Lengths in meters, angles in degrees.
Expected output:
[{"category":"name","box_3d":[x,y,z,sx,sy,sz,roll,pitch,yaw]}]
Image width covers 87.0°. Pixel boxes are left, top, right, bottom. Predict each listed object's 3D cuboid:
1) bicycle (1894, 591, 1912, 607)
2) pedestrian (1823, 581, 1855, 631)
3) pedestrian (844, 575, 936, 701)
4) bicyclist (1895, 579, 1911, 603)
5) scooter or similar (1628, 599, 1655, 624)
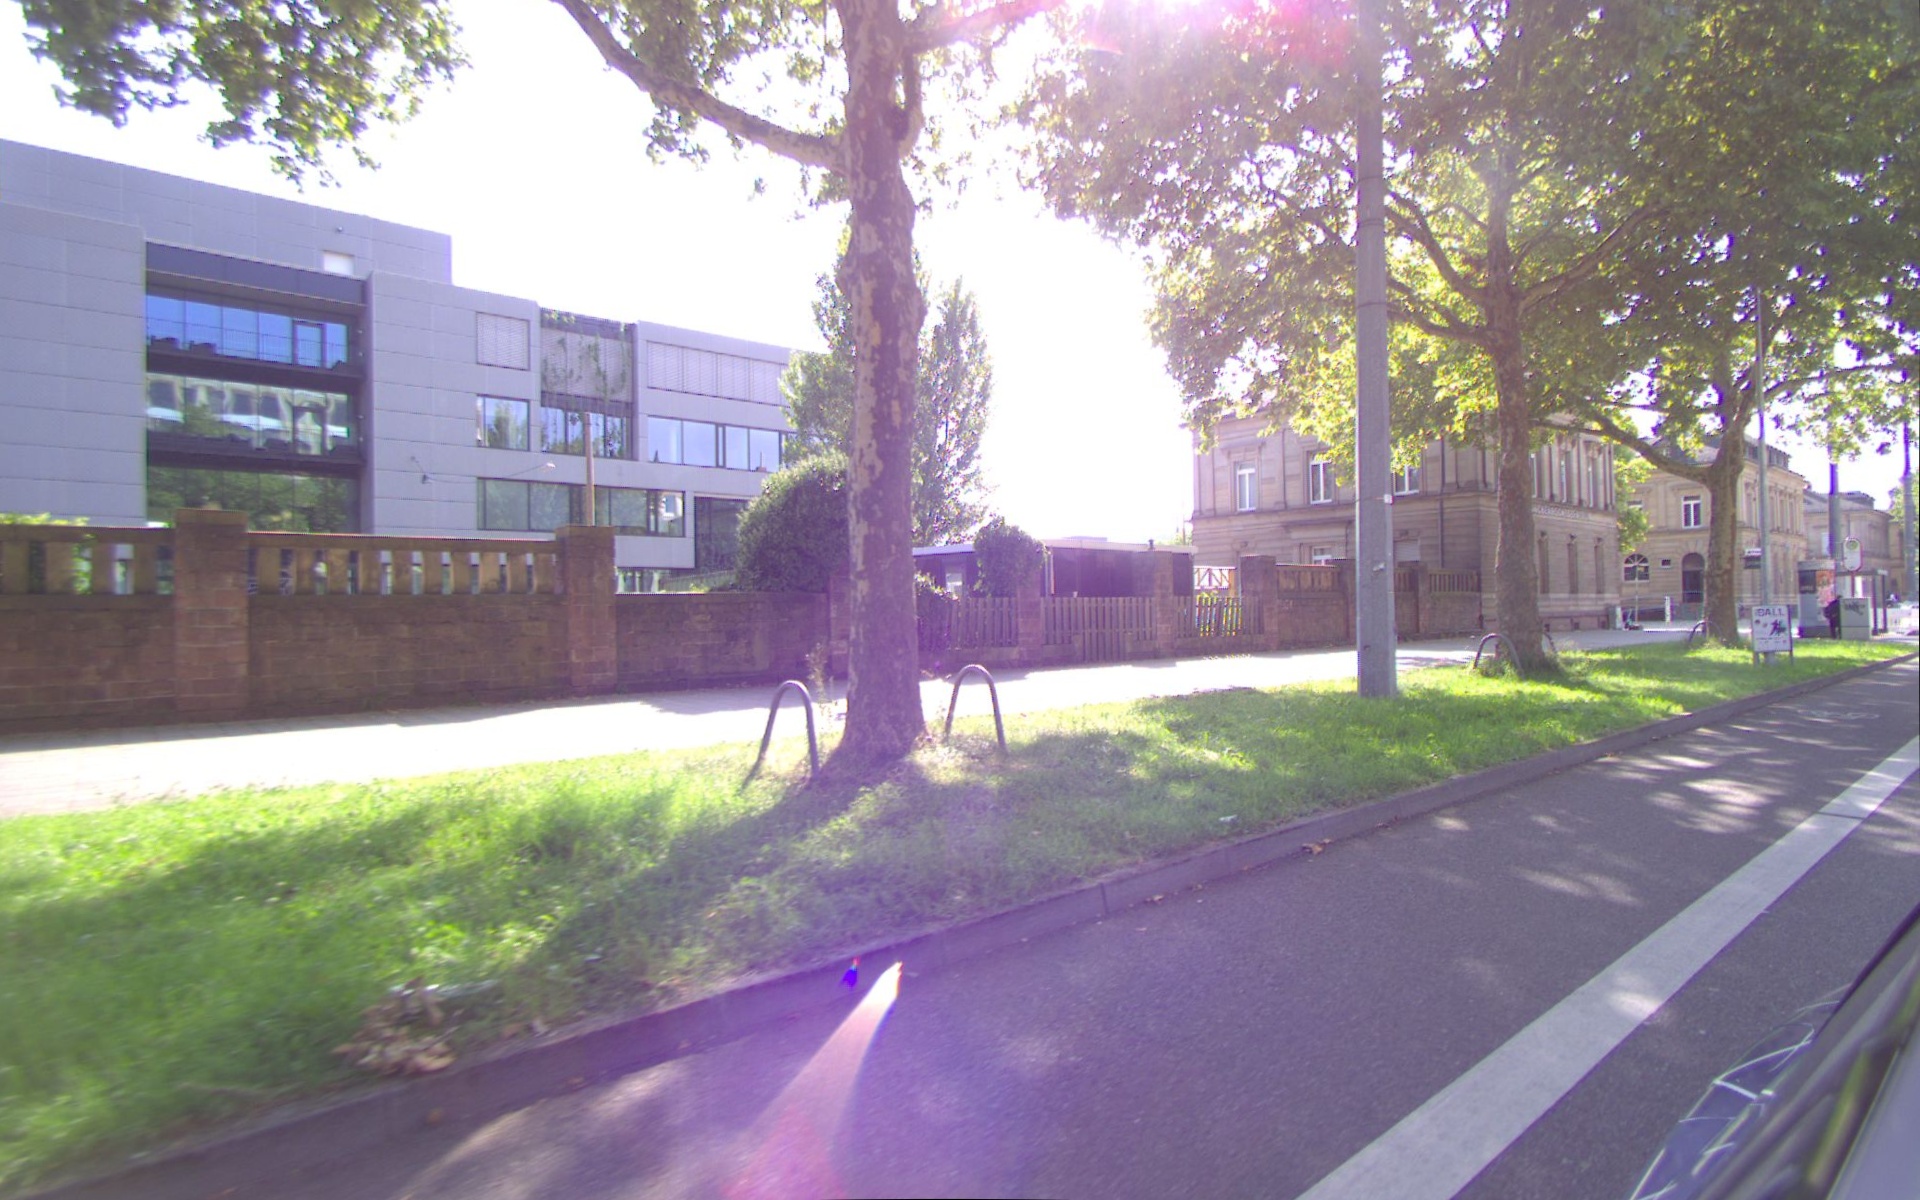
[{"category":"bicycle","box_3d":[62.257,-0.049,66.811,1.871,1.055,0.718,0,-1,-43]},{"category":"pedestrian","box_3d":[30.630,0.214,35.269,0.683,1.718,0.642,-1,-1,29]},{"category":"pedestrian","box_3d":[-0.990,0.511,14.323,0.994,1.708,0.820,0,-1,-40]},{"category":"bicyclist","box_3d":[62.241,-0.618,66.803,0.939,1.563,0.718,1,-2,-43]},{"category":"scooter or similar","box_3d":[34.247,0.581,50.854,1.228,1.225,0.423,1,-2,-18]}]
